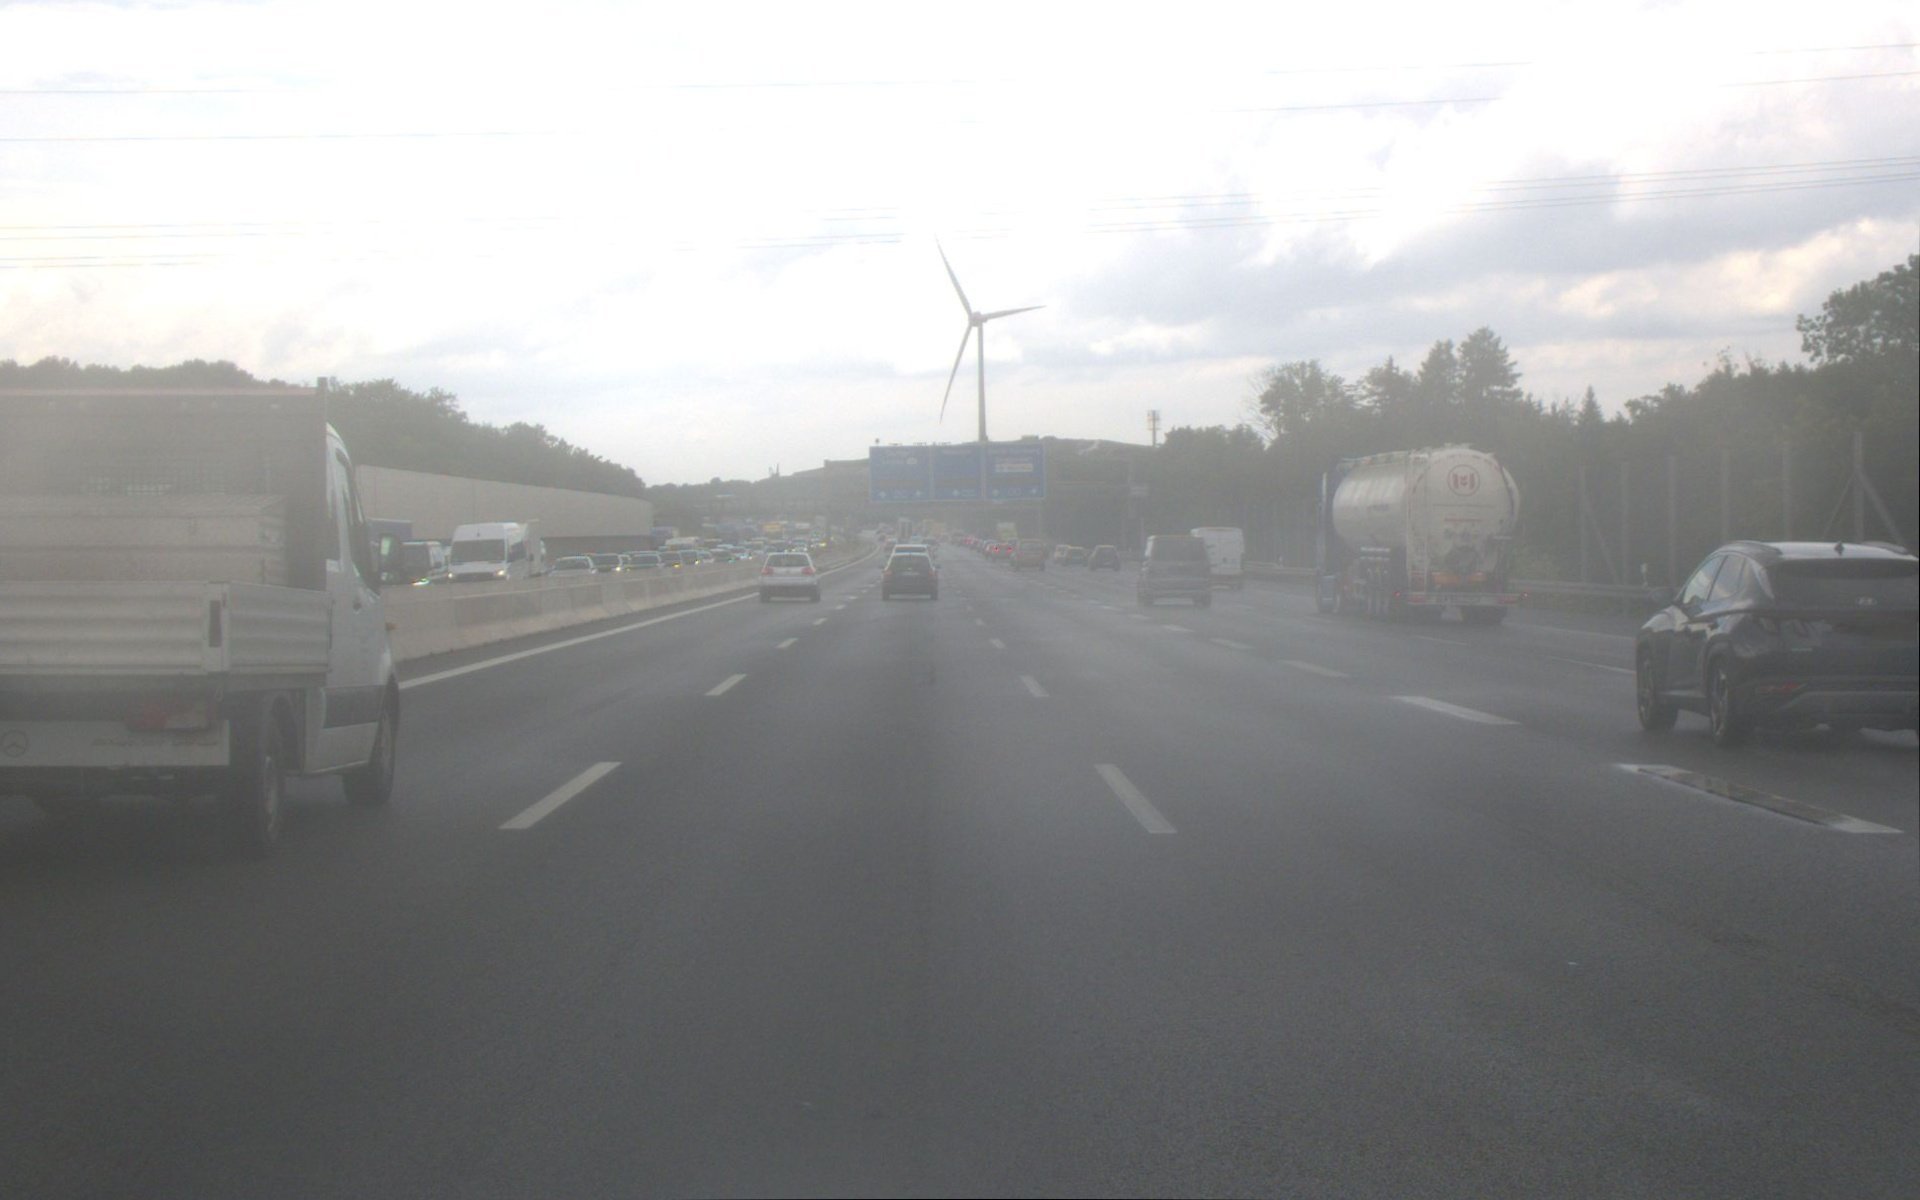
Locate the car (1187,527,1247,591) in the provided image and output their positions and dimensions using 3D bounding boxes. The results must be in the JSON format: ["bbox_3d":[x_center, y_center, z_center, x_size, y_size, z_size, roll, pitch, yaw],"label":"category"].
[{"bbox_3d":[10.219,-1.643,136.960,2.045,2.489,4.000,0,1,-1],"label":"car"}]

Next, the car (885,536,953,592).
[{"bbox_3d":[-1.261,-1.154,107.974,2.045,1.693,4.000,0,1,1],"label":"car"}]

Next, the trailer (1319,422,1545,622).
[{"bbox_3d":[10.527,-1.747,78.094,3.332,4.161,11.839,1,1,-1],"label":"trailer"}]

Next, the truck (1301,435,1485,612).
[{"bbox_3d":[10.473,-1.848,84.038,3.333,4.066,8.272,1,1,-1],"label":"truck"}]

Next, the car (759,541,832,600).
[{"bbox_3d":[-4.924,-0.907,103.371,2.045,1.693,4.000,0,1,-1],"label":"car"}]

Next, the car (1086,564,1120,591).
[{"bbox_3d":[9.291,-1.479,223.670,1.993,1.744,4.497,0,1,-1],"label":"car"}]

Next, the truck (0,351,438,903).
[{"bbox_3d":[-4.418,0.031,18.658,2.352,2.400,7.359,1,1,-3],"label":"truck"}]

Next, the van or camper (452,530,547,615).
[{"bbox_3d":[-15.106,-0.919,113.092,2.178,2.695,7.521,0,1,-1],"label":"van or camper"}]

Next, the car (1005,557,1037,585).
[{"bbox_3d":[3.909,-1.859,220.593,2.045,1.693,4.000,0,1,0],"label":"car"}]

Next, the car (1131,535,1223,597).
[{"bbox_3d":[6.114,-0.983,97.341,2.097,1.693,4.001,0,1,-4],"label":"car"}]

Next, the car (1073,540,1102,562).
[{"bbox_3d":[9.718,-3.749,261.883,2.045,1.693,4.000,0,1,0],"label":"car"}]

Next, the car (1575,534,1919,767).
[{"bbox_3d":[6.555,0.331,27.936,2.045,1.693,5.007,1,1,-2],"label":"car"}]
